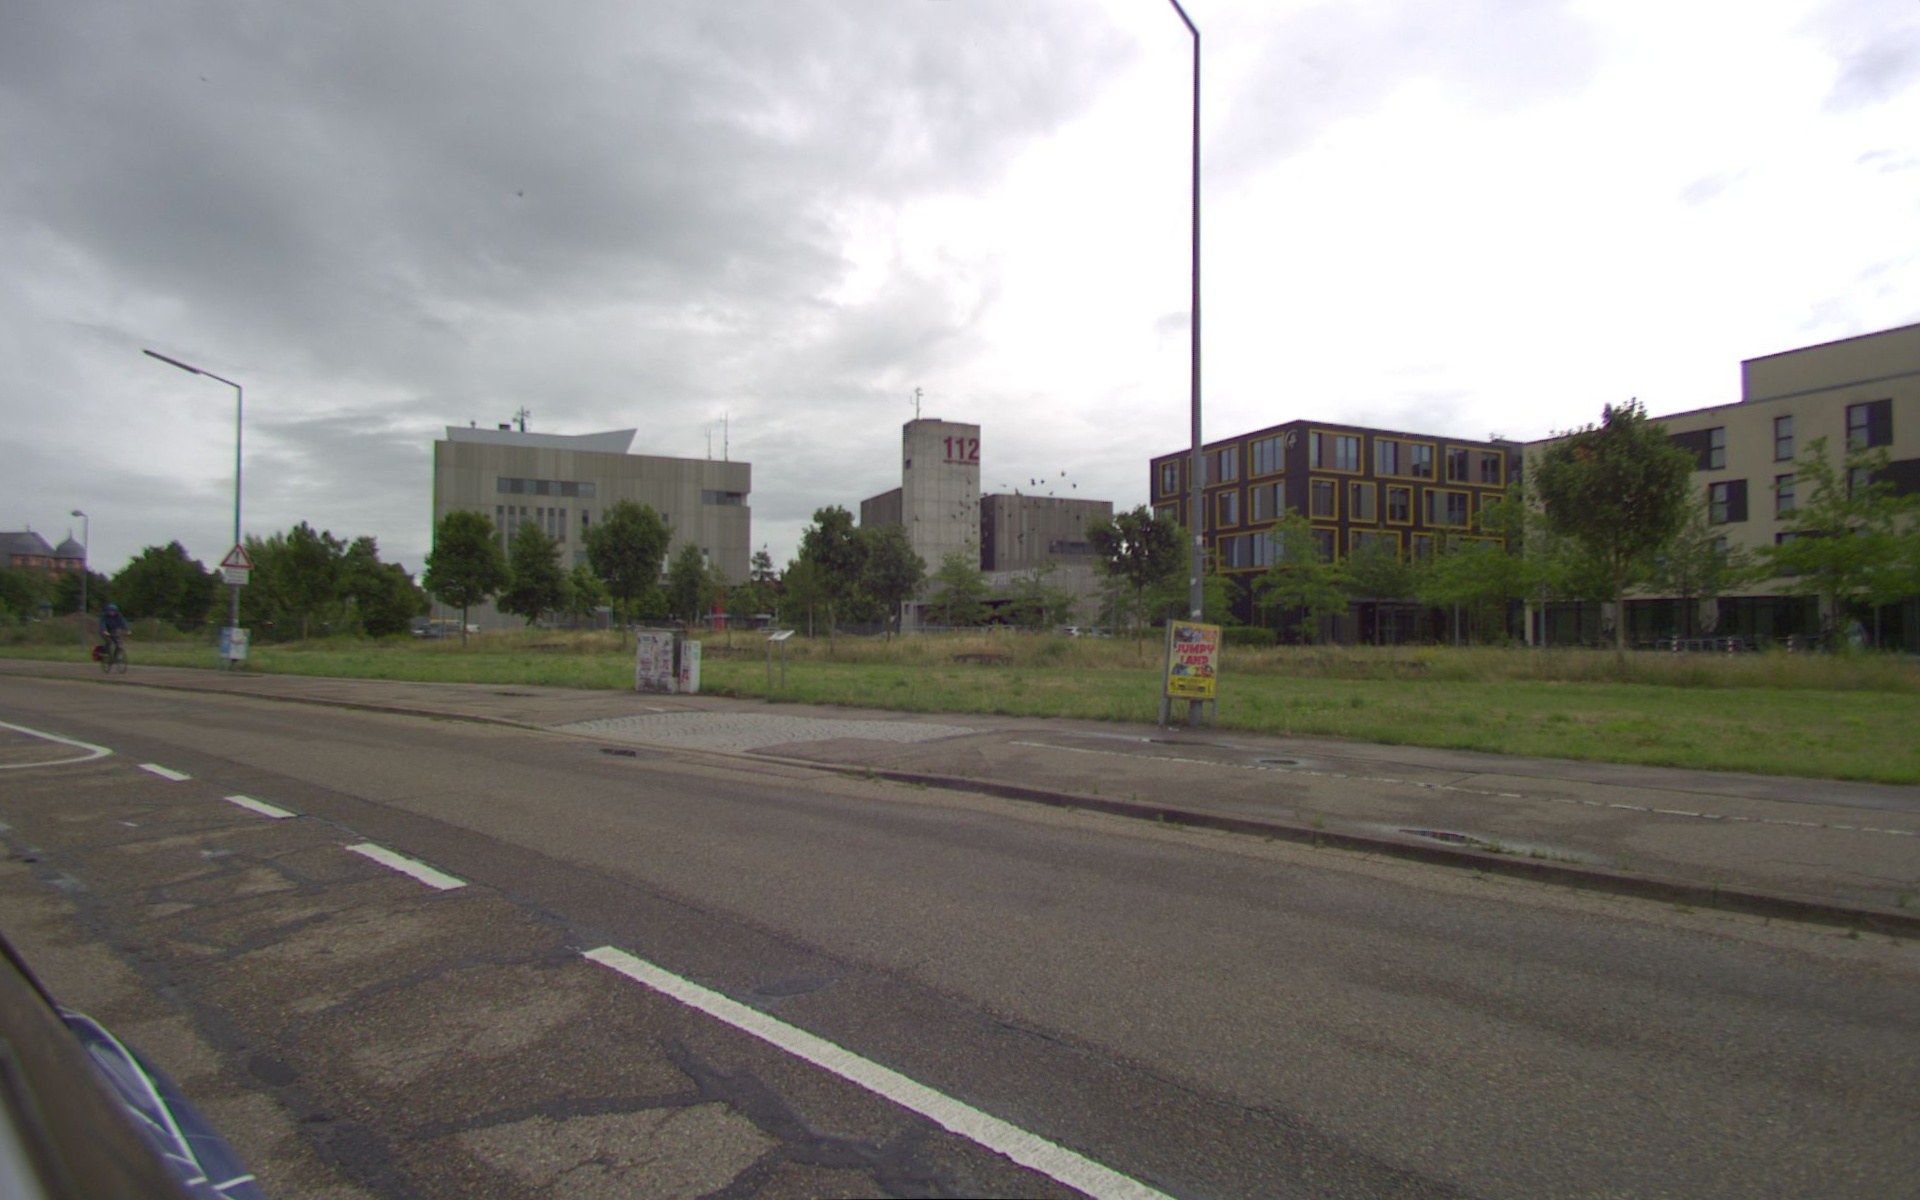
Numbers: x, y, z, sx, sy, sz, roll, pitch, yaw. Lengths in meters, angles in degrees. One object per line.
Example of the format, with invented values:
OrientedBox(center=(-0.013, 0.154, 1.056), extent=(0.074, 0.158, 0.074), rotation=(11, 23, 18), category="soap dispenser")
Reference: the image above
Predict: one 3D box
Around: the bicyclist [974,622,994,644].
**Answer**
OrientedBox(center=(2.079, 2.866, 88.397), extent=(1.378, 1.914, 1.080), rotation=(0, -3, -26), category="bicyclist")

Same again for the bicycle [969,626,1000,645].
OrientedBox(center=(2.134, 3.106, 88.372), extent=(2.456, 1.596, 1.090), rotation=(0, -3, -26), category="bicycle")

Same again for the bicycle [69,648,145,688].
OrientedBox(center=(-23.691, 1.890, 28.096), extent=(2.460, 1.060, 0.877), rotation=(-3, -3, 32), category="bicycle")

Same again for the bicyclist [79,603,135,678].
OrientedBox(center=(-23.704, 1.142, 28.138), extent=(1.174, 2.029, 0.855), rotation=(-3, -3, 33), category="bicyclist")

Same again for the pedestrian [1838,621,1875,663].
OrientedBox(center=(33.979, 1.599, 38.370), extent=(0.939, 1.583, 0.877), rotation=(2, -4, -41), category="pedestrian")
